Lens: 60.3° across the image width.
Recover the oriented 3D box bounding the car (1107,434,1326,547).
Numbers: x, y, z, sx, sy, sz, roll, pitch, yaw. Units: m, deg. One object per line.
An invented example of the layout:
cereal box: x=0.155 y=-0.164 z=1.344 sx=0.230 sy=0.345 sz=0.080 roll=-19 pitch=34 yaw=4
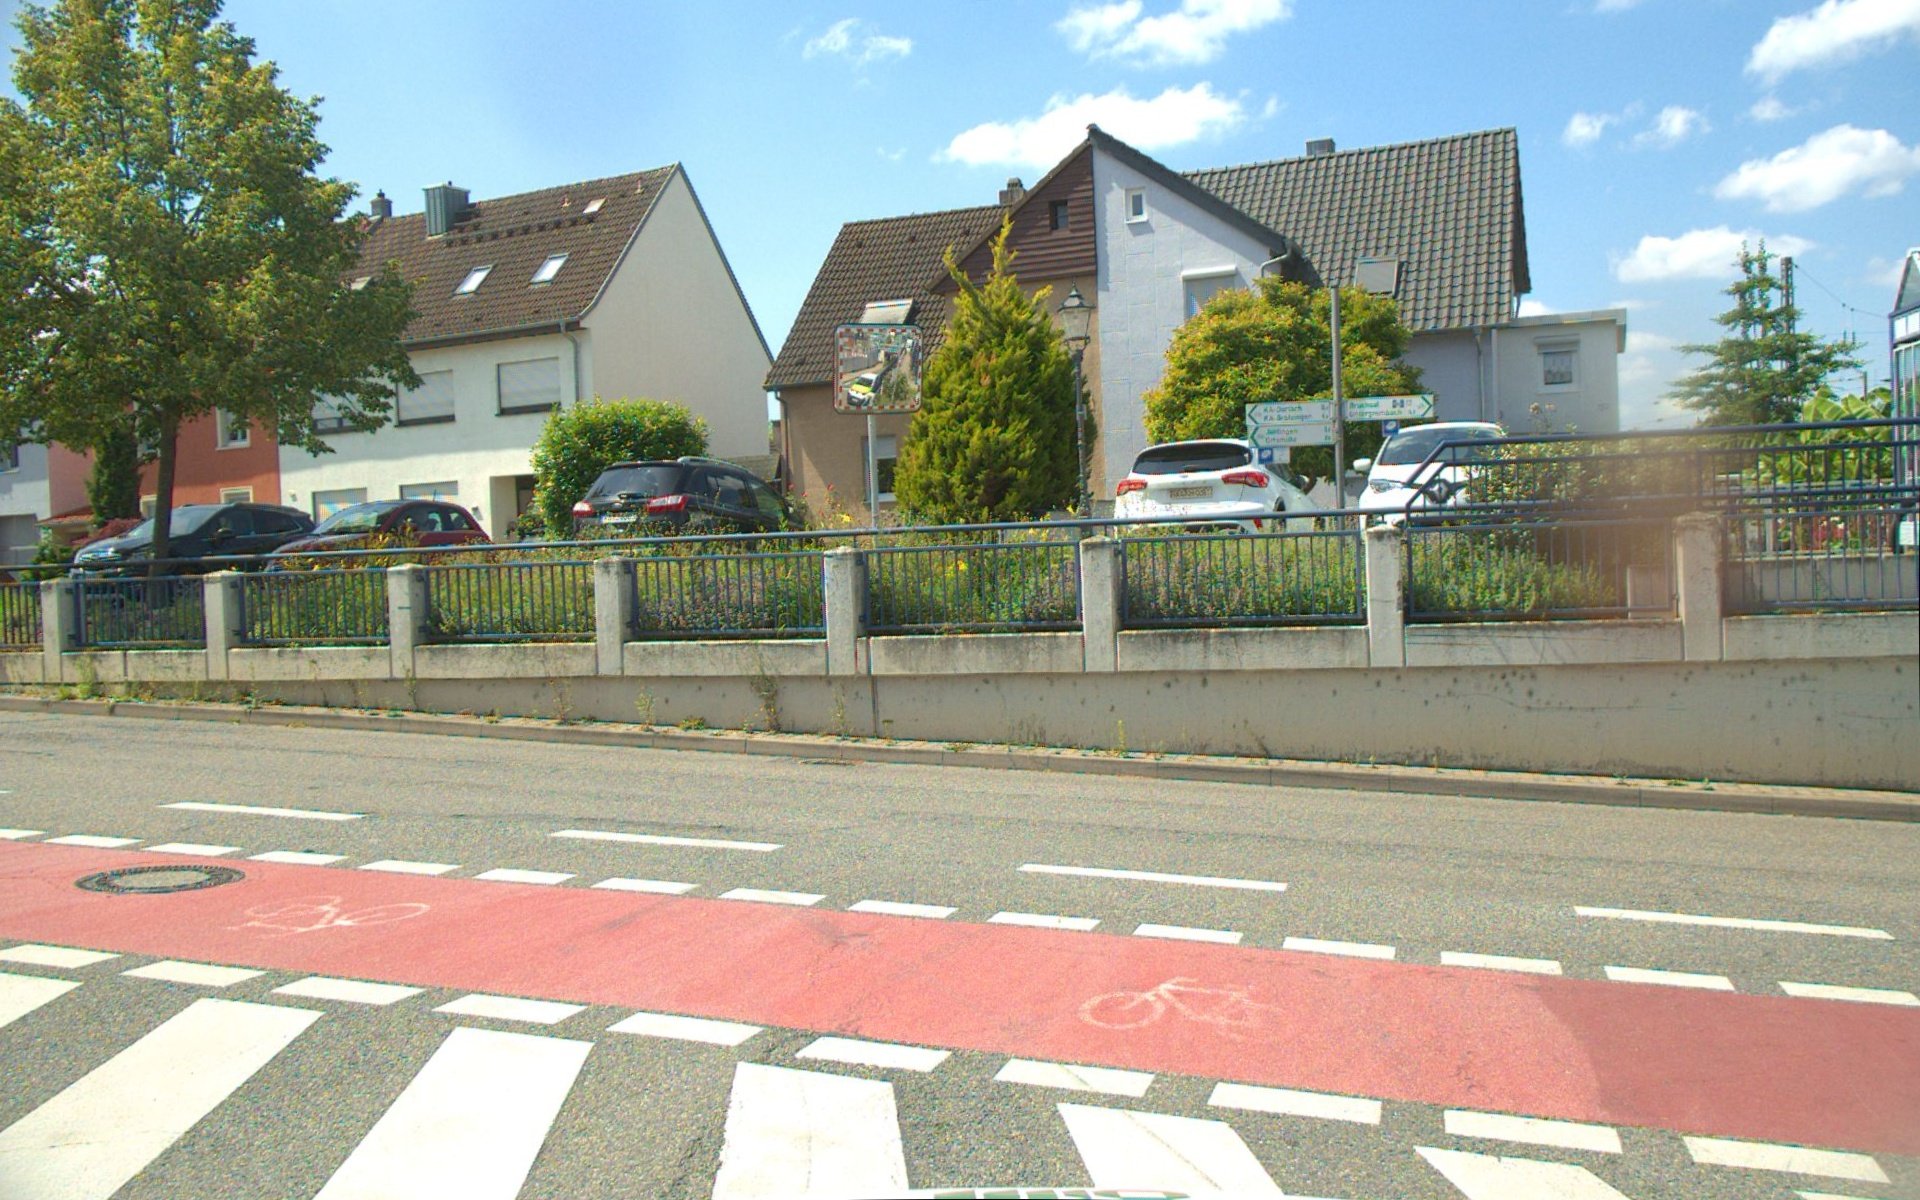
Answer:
car: x=2.989 y=-1.195 z=18.719 sx=1.787 sy=1.037 sz=3.460 roll=2 pitch=1 yaw=20

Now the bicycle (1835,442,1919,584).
bicycle: x=8.318 y=-0.728 z=13.472 sx=2.070 sy=1.145 sz=0.333 roll=-1 pitch=1 yaw=14

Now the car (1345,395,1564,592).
car: x=5.429 y=-1.049 z=17.838 sx=1.952 sy=1.828 sz=4.197 roll=2 pitch=1 yaw=20

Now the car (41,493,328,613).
car: x=-11.442 y=-0.666 z=24.648 sx=1.829 sy=1.614 sz=3.610 roll=2 pitch=1 yaw=20

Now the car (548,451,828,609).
car: x=-3.405 y=-0.851 z=21.528 sx=1.829 sy=1.828 sz=4.001 roll=2 pitch=1 yaw=20

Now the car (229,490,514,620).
car: x=-8.074 y=-0.595 z=23.012 sx=1.829 sy=1.614 sz=3.610 roll=2 pitch=1 yaw=20
